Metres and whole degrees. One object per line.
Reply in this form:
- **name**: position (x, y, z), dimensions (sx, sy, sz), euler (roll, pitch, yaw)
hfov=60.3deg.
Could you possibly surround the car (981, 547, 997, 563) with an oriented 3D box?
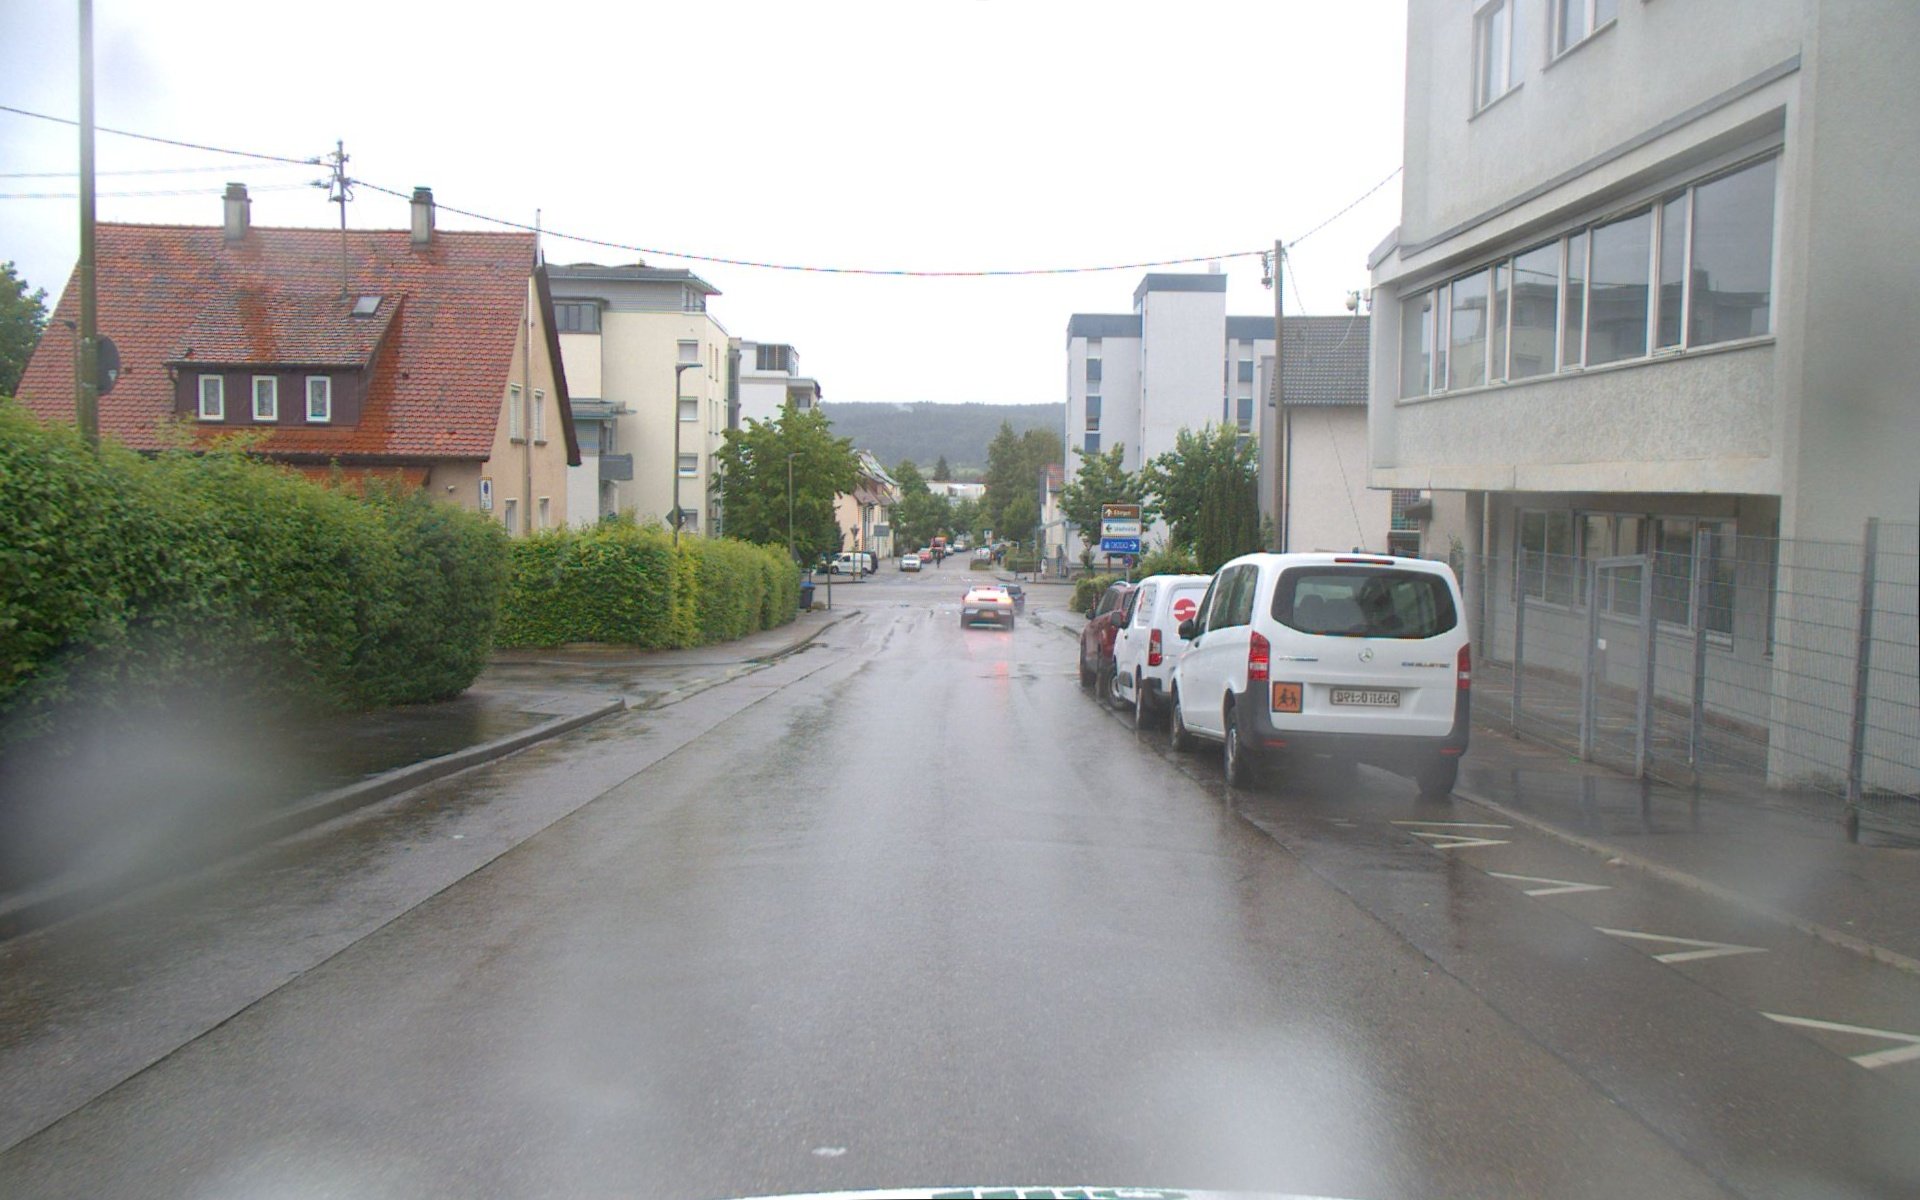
- **car**: position (3.364, -5.238, 192.940), dimensions (1.862, 1.775, 4.193), euler (-1, 2, 1)

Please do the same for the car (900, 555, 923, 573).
- **car**: position (-4.579, -3.456, 157.348), dimensions (1.952, 1.654, 4.193), euler (-1, 2, 0)

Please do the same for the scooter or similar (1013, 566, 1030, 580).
- **scooter or similar**: position (4.756, -2.092, 128.074), dimensions (1.243, 1.100, 0.876), euler (-1, 2, -5)

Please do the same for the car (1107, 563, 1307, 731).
- **car**: position (2.956, 0.497, 20.715), dimensions (1.840, 1.865, 4.489), euler (0, 1, 0)

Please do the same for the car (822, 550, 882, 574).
- **car**: position (-8.958, -3.166, 137.511), dimensions (4.796, 1.867, 1.973), euler (-2, 3, -39)

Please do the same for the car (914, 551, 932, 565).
- **car**: position (-4.315, -4.921, 193.795), dimensions (1.862, 1.586, 4.193), euler (-1, 2, 1)

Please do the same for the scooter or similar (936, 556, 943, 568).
- **scooter or similar**: position (-2.157, -4.018, 173.860), dimensions (0.742, 1.191, 1.313), euler (-1, 2, -4)

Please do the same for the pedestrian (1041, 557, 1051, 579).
- **pedestrian**: position (6.755, -2.480, 129.422), dimensions (0.635, 1.676, 0.525), euler (3, 1, -6)

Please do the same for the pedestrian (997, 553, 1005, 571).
- **pedestrian**: position (4.447, -4.160, 180.029), dimensions (0.731, 1.880, 0.525), euler (0, 2, -6)

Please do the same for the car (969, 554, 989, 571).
- **car**: position (1.950, -3.890, 171.148), dimensions (2.102, 1.616, 4.129), euler (-1, 2, 0)

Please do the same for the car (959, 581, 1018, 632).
- **car**: position (1.018, 0.209, 60.936), dimensions (1.953, 1.713, 3.999), euler (-1, 2, -2)

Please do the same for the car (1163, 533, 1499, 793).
- **car**: position (3.126, 0.452, 15.082), dimensions (1.953, 1.969, 4.976), euler (0, 1, 0)

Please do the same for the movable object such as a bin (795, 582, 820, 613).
- **movable object such as a bin**: position (-7.111, -0.130, 77.087), dimensions (1.050, 1.371, 1.318), euler (2, 1, -2)

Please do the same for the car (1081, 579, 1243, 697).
- **car**: position (3.063, 0.518, 26.089), dimensions (1.953, 1.673, 4.958), euler (0, 1, 0)

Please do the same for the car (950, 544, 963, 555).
- **car**: position (-0.442, -7.487, 244.024), dimensions (1.862, 1.586, 4.193), euler (-1, 2, 1)

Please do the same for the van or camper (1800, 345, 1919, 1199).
- **van or camper**: position (3.302, 0.496, 1.934), dimensions (1.953, 2.150, 5.202), euler (0, 1, -1)

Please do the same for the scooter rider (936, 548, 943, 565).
- **scooter rider**: position (-2.165, -4.571, 173.789), dimensions (0.737, 1.827, 0.672), euler (-1, 2, -3)

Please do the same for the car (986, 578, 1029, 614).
- **car**: position (2.469, -0.249, 86.748), dimensions (1.953, 1.713, 3.999), euler (-1, 2, -2)
